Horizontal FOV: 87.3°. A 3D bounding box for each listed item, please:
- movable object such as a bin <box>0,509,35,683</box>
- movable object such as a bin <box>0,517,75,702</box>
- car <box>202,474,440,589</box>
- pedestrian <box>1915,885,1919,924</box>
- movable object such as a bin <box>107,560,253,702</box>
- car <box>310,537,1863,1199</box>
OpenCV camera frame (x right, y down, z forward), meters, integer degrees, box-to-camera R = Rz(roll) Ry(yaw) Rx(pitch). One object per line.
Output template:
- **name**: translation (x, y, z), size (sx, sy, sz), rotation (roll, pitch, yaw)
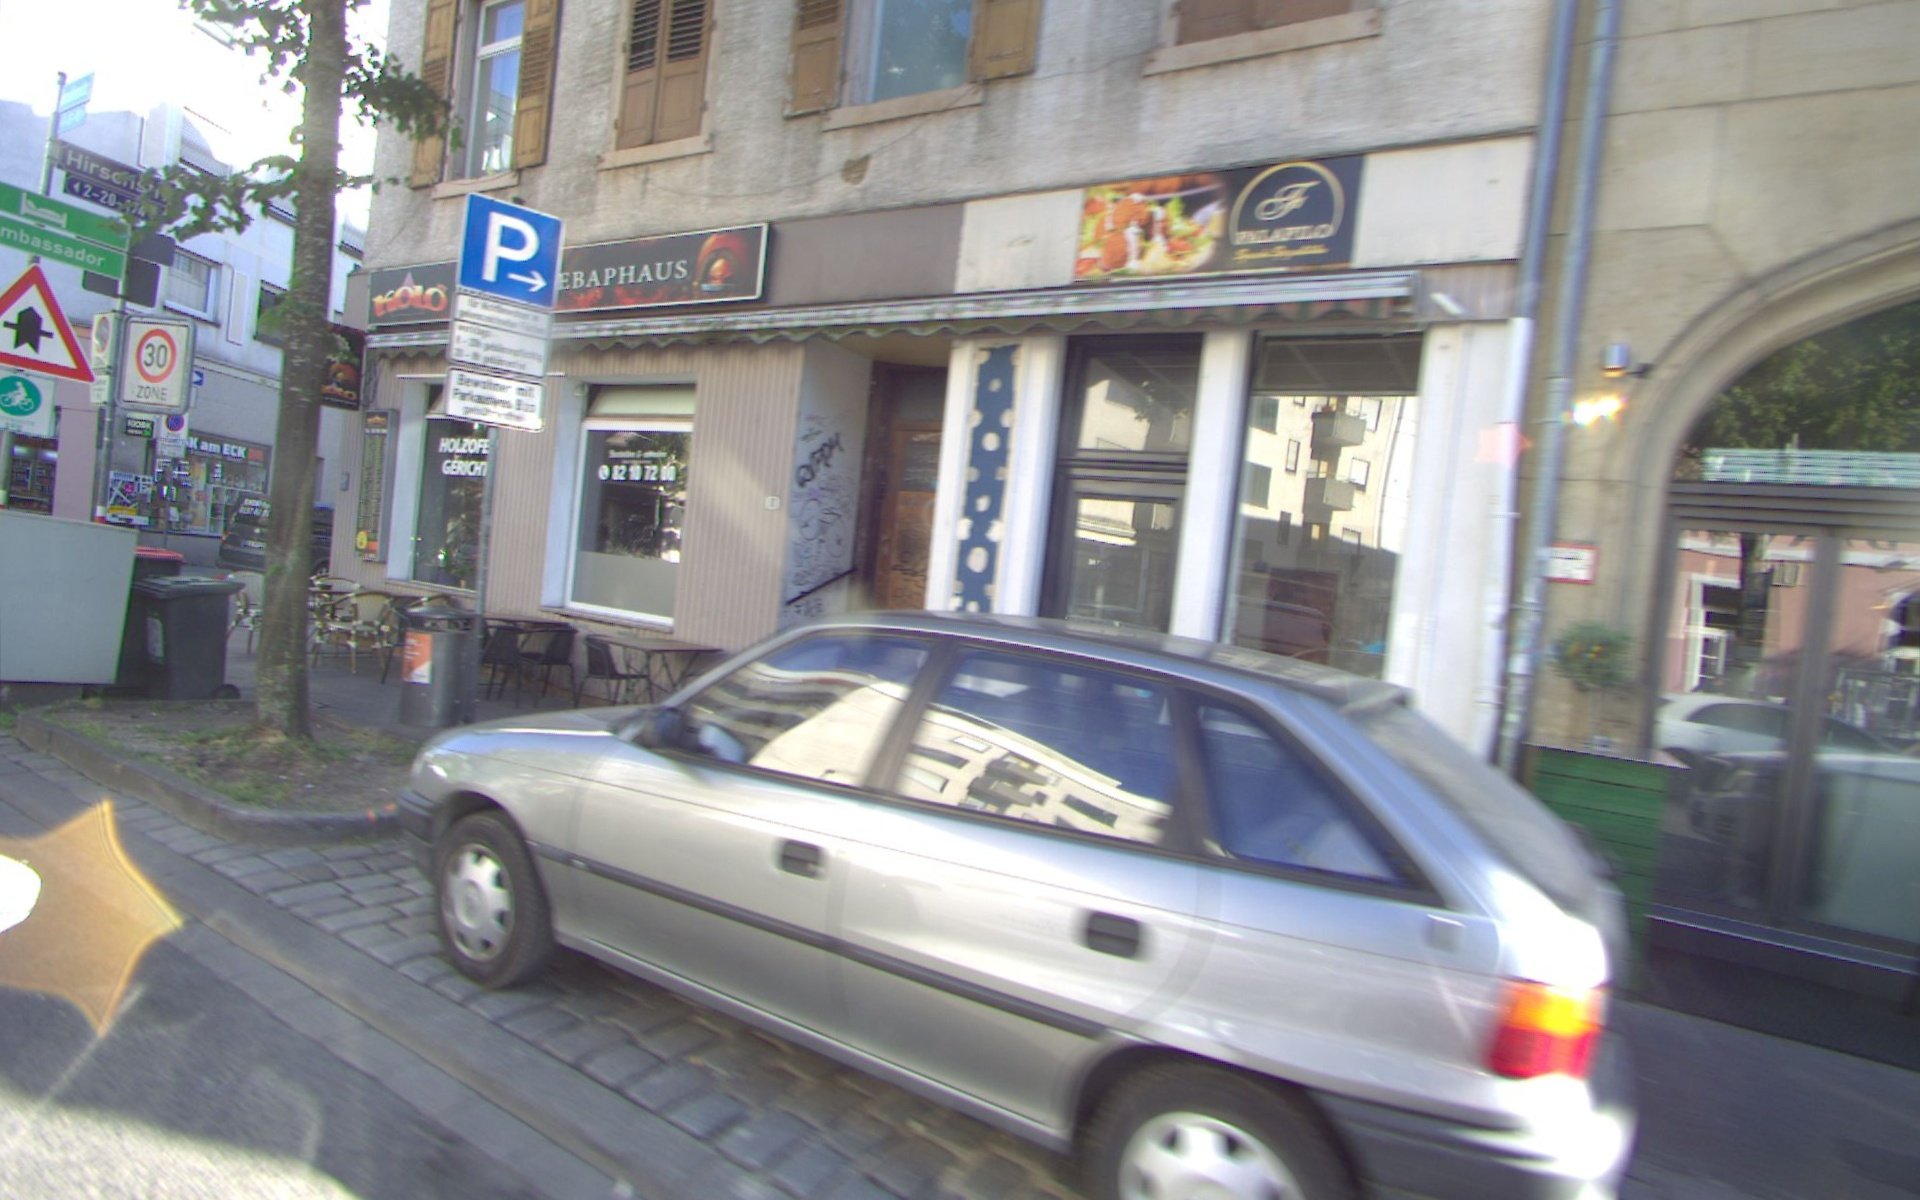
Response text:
- **movable object such as a bin**: translation (-7.287, -0.068, 7.220), size (0.669, 1.238, 0.706), rotation (8, 2, 29)
- **movable object such as a bin**: translation (-6.581, 0.044, 6.809), size (0.699, 1.195, 0.622), rotation (8, 2, 29)
- **car**: translation (-14.229, -1.419, 22.824), size (1.962, 2.039, 4.696), rotation (7, 1, 5)
- **pedestrian**: translation (5.653, 1.069, 5.293), size (0.602, 1.586, 0.697), rotation (7, 2, 30)
- **movable object such as a bin**: translation (-5.526, 0.218, 7.135), size (0.617, 0.907, 0.563), rotation (7, 2, 29)
- **car**: translation (-0.081, 0.710, 3.394), size (4.228, 1.410, 1.822), rotation (7, 3, 30)
